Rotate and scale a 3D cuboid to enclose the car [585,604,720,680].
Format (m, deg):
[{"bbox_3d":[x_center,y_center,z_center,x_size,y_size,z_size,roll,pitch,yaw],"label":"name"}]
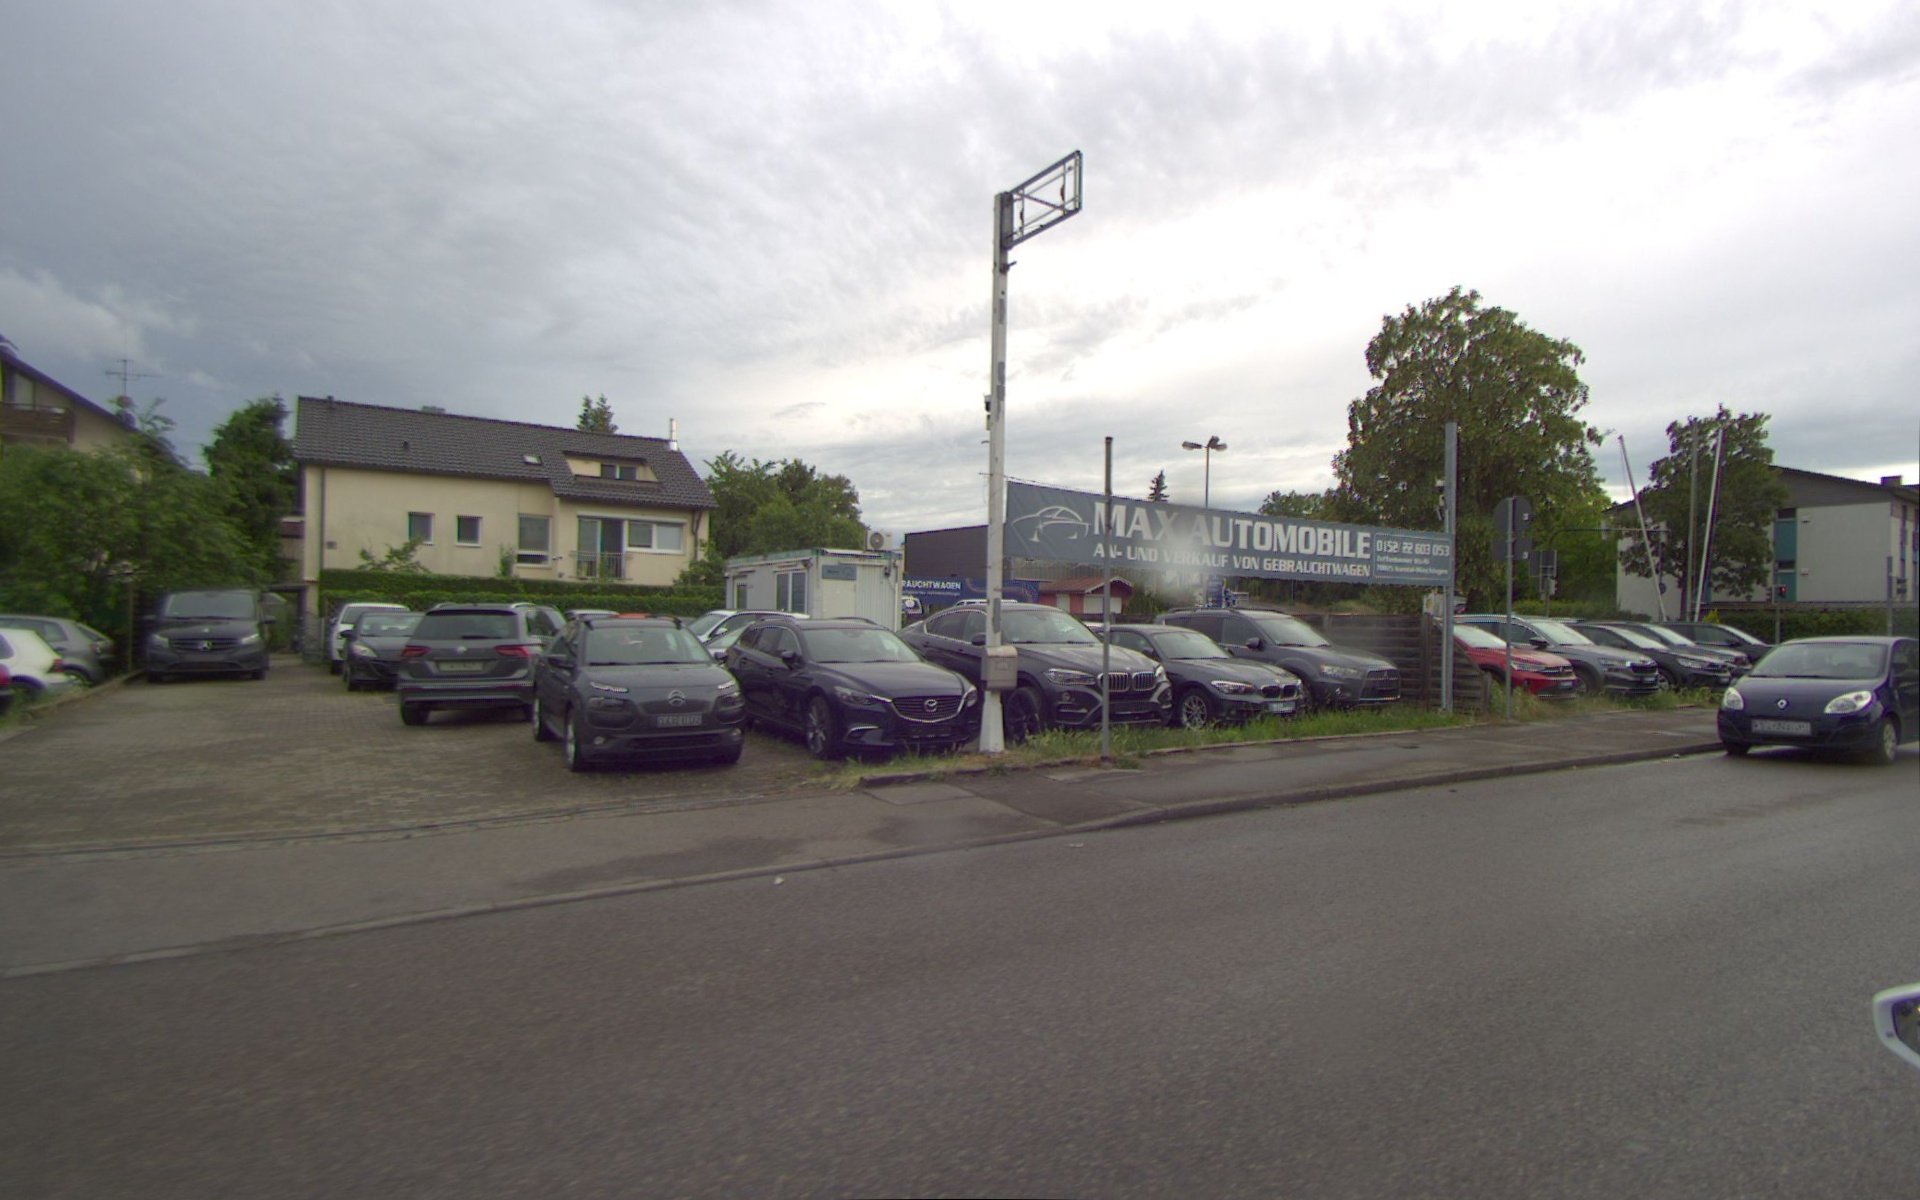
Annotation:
[{"bbox_3d":[-7.014,0.906,22.669,1.819,1.550,3.962,1,-1,-34],"label":"car"}]

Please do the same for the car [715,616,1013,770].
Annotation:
[{"bbox_3d":[-1.364,0.959,12.256,1.920,1.483,4.324,1,-1,-32],"label":"car"}]

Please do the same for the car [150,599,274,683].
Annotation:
[{"bbox_3d":[-15.580,0.807,21.106,1.880,1.576,3.962,1,-1,-34],"label":"car"}]

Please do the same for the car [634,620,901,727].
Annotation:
[{"bbox_3d":[-3.084,1.119,16.336,3.957,1.550,1.682,1,-2,-33],"label":"car"}]

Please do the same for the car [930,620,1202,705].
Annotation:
[{"bbox_3d":[2.098,1.121,19.189,5.161,1.439,1.888,1,-2,-33],"label":"car"}]

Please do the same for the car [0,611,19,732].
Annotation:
[{"bbox_3d":[-12.680,0.814,11.019,1.315,1.434,3.224,0,-1,34],"label":"car"}]

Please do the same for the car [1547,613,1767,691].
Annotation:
[{"bbox_3d":[16.263,1.139,23.620,1.673,1.551,3.924,0,1,-32],"label":"car"}]

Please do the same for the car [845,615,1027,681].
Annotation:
[{"bbox_3d":[-0.514,1.074,23.278,3.957,1.416,1.682,1,-2,-33],"label":"car"}]

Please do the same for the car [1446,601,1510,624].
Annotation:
[{"bbox_3d":[40.178,0.965,77.945,3.919,1.747,2.001,1,1,4],"label":"car"}]

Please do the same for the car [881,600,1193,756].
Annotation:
[{"bbox_3d":[0.830,0.889,13.433,2.035,1.714,4.324,1,-1,-32],"label":"car"}]

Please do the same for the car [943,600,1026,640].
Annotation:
[{"bbox_3d":[1.231,1.001,52.252,1.982,1.896,4.402,0,1,-38],"label":"car"}]

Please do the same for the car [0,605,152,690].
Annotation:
[{"bbox_3d":[-16.372,0.810,17.574,1.315,1.434,3.224,0,-1,34],"label":"car"}]

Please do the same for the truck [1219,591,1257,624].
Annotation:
[{"bbox_3d":[23.274,0.573,84.313,1.960,2.573,5.560,1,1,5],"label":"truck"}]

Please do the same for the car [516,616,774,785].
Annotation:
[{"bbox_3d":[-3.655,0.940,11.171,1.819,1.483,3.966,1,-1,-32],"label":"car"}]

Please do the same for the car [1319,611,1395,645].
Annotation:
[{"bbox_3d":[20.995,1.492,53.081,3.959,1.541,1.744,4,-1,-33],"label":"car"}]

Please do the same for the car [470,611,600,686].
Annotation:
[{"bbox_3d":[-9.191,0.974,21.579,1.770,1.457,3.709,1,-1,-36],"label":"car"}]

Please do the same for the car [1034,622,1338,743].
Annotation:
[{"bbox_3d":[3.149,1.087,14.869,1.937,1.451,4.324,1,-1,-32],"label":"car"}]

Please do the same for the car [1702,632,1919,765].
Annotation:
[{"bbox_3d":[11.197,1.143,12.763,3.642,1.452,1.618,1,-1,-32],"label":"car"}]

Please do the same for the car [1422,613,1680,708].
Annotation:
[{"bbox_3d":[11.320,1.082,19.526,1.782,1.564,3.968,1,0,-30],"label":"car"}]

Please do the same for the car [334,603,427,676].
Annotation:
[{"bbox_3d":[-13.708,0.882,23.730,1.767,1.592,3.715,1,-1,-31],"label":"car"}]

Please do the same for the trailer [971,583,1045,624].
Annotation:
[{"bbox_3d":[3.397,0.256,72.028,2.597,2.800,4.970,1,0,-39],"label":"trailer"}]

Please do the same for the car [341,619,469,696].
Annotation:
[{"bbox_3d":[-10.725,1.046,19.559,1.975,1.289,3.720,1,-1,-28],"label":"car"}]

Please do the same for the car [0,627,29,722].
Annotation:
[{"bbox_3d":[-14.787,0.995,12.999,1.599,1.274,3.974,-1,-2,45],"label":"car"}]

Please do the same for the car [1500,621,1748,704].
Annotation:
[{"bbox_3d":[13.784,1.220,21.081,1.782,1.460,3.968,1,0,-30],"label":"car"}]

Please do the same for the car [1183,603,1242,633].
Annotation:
[{"bbox_3d":[18.282,1.293,72.825,1.975,2.021,3.971,0,1,-28],"label":"car"}]

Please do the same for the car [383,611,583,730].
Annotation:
[{"bbox_3d":[-6.931,0.942,15.054,1.904,1.519,3.989,1,-1,-14],"label":"car"}]

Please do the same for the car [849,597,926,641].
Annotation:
[{"bbox_3d":[-3.535,0.861,48.224,1.707,2.000,4.148,0,1,-38],"label":"car"}]

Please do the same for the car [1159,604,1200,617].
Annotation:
[{"bbox_3d":[23.681,1.143,108.387,3.923,1.394,1.814,1,0,-3],"label":"car"}]

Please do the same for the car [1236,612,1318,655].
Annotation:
[{"bbox_3d":[12.763,1.291,40.304,1.687,1.576,3.980,1,1,41],"label":"car"}]

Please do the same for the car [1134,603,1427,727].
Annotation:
[{"bbox_3d":[4.990,0.921,16.261,1.937,1.713,4.324,1,-1,-32],"label":"car"}]

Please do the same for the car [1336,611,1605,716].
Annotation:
[{"bbox_3d":[8.950,1.026,17.936,1.782,1.564,3.968,1,0,-30],"label":"car"}]

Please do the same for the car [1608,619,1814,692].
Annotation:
[{"bbox_3d":[18.730,1.315,25.174,1.610,1.551,3.909,0,1,-42],"label":"car"}]

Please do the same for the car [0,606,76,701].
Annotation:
[{"bbox_3d":[-15.559,0.803,15.074,1.316,1.434,3.222,0,-1,36],"label":"car"}]
